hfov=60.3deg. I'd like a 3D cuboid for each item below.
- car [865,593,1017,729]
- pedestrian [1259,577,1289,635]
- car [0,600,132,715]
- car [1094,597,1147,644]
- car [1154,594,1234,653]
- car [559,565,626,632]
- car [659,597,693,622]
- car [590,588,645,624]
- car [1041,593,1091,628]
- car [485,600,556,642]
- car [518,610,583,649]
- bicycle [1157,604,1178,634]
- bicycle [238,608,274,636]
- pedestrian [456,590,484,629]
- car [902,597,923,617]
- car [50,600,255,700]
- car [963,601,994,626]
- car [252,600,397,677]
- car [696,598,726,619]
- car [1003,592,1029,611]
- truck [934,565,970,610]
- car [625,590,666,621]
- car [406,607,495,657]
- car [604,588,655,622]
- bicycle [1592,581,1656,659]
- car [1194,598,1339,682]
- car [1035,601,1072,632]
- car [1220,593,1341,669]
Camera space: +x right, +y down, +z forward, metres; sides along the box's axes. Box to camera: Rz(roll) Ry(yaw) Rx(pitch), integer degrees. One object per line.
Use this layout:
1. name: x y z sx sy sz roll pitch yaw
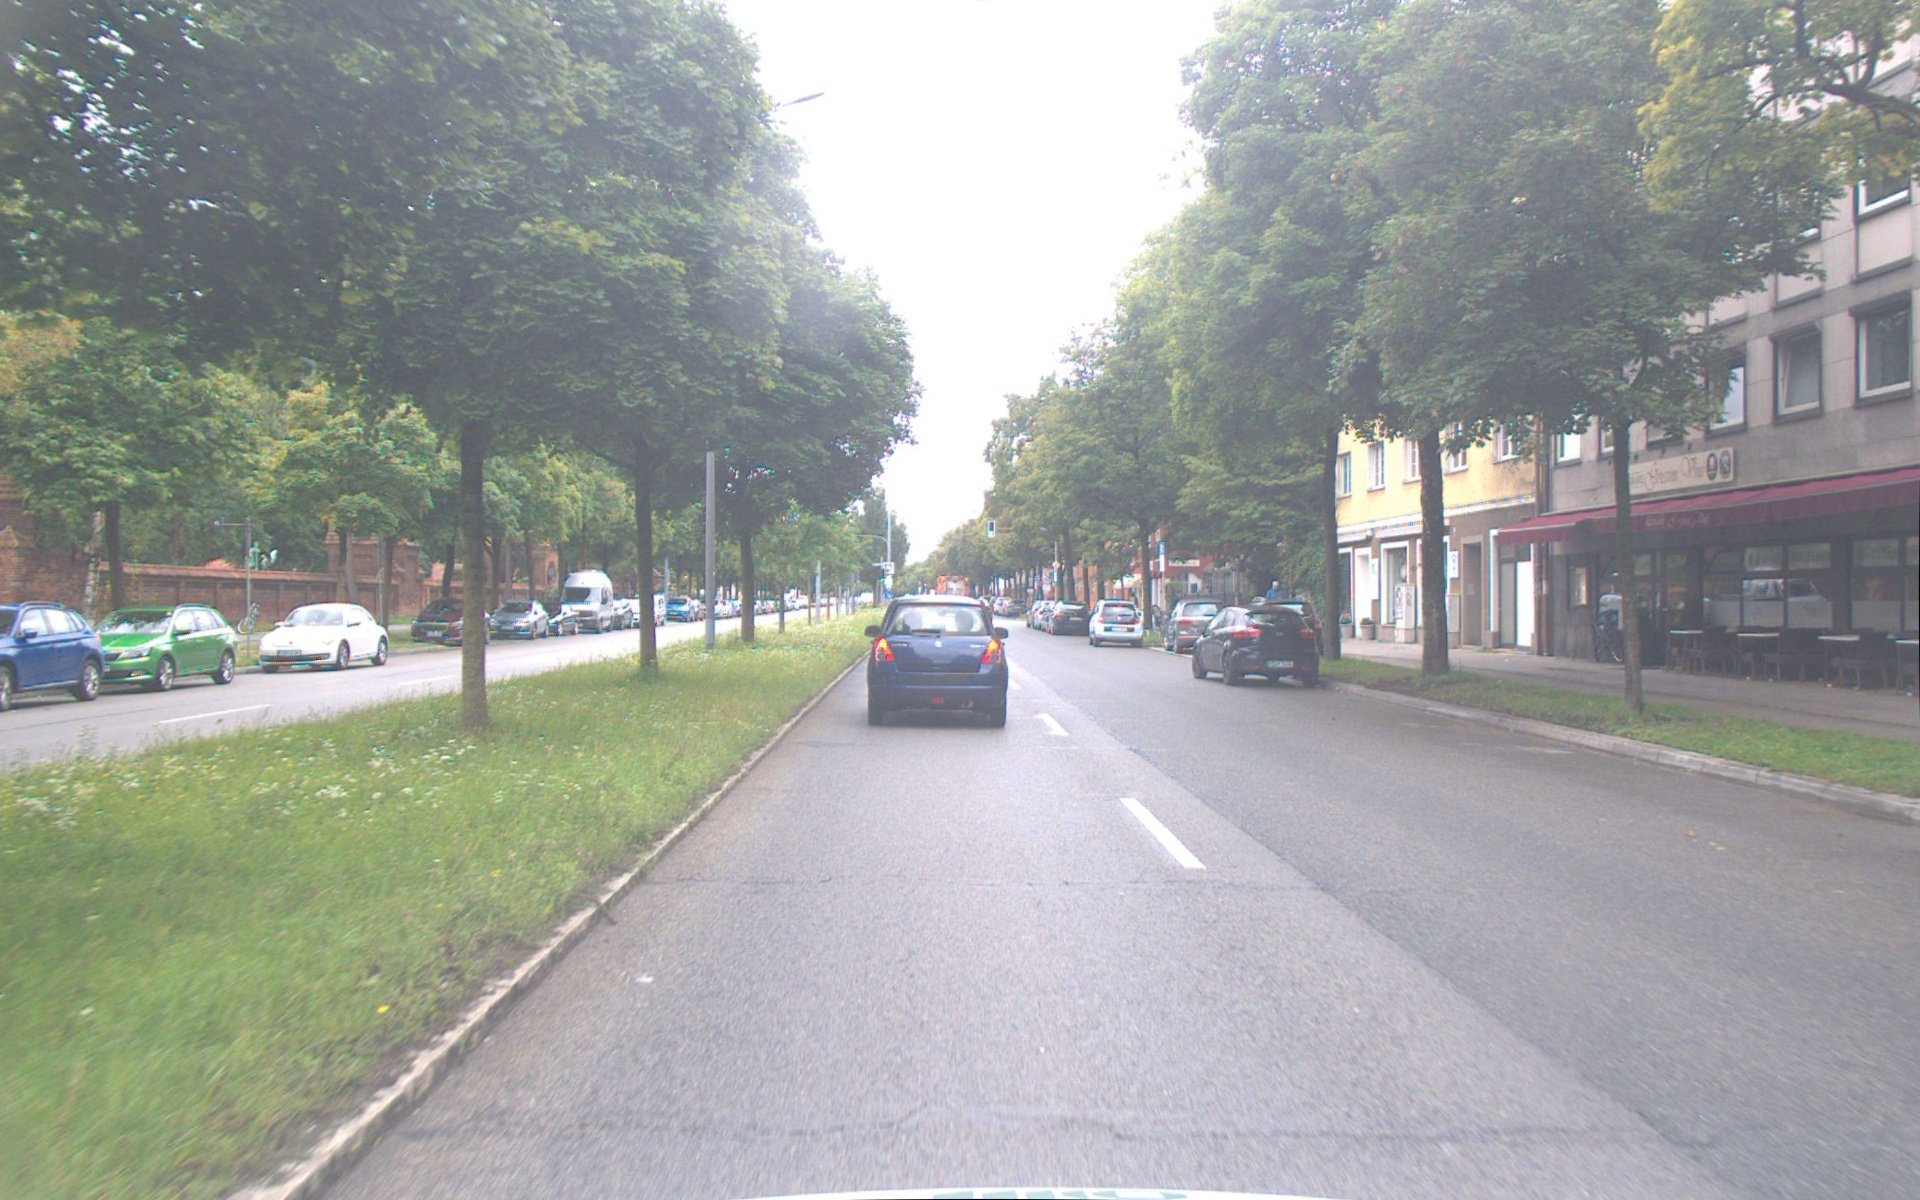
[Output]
1. car: -0.233 0.681 20.694 1.717 1.531 4.000 0 0 -1
2. pedestrian: 10.419 0.184 54.869 0.776 1.888 0.776 -2 0 -4
3. car: -14.300 0.832 24.655 1.849 1.564 4.312 -3 0 -3
4. car: 5.466 0.677 56.079 1.618 1.477 4.003 -1 0 7
5. car: 7.012 0.668 49.949 1.778 1.654 4.307 -1 0 0
6. car: -17.285 -0.072 78.089 2.142 3.005 6.187 1 0 -4
7. car: -18.815 0.609 109.649 1.672 1.561 3.999 0 0 -1
8. car: -17.576 0.282 85.008 2.142 1.766 4.574 1 0 -4
9. car: 4.628 0.427 72.662 1.621 1.477 4.705 -1 0 -4
10. car: -17.322 0.786 65.374 1.777 1.563 4.439 1 0 -2
11. car: -17.545 1.235 71.052 1.777 1.563 4.817 1 0 -2
12. bicycle: 7.091 0.645 56.488 0.439 0.997 1.798 0 0 -2
13. bicycle: -24.266 0.759 57.040 0.642 0.953 1.618 0 0 -4
14. pedestrian: -20.127 0.380 67.931 0.761 1.594 0.792 0 0 35
15. car: -3.829 0.558 133.779 1.684 1.527 4.299 1 0 -2
16. car: -14.408 0.833 29.796 1.605 1.564 4.313 -3 0 -2
17. car: 1.196 0.874 107.657 1.785 1.503 4.689 2 0 -2
18. car: -14.672 0.846 38.444 1.725 1.564 4.313 -3 0 -2
19. car: -18.968 0.640 126.182 1.765 1.561 3.999 0 0 -1
20. car: 4.668 0.144 138.731 1.953 1.557 3.999 0 0 -1
21. truck: -0.715 -1.063 142.714 2.979 3.619 13.672 1 0 -1
22. car: -18.183 0.321 95.773 1.672 1.764 3.999 0 0 -1
23. car: -17.070 1.037 55.617 1.777 1.563 4.296 1 0 -2
24. car: -18.004 0.274 90.320 2.142 1.766 4.574 1 0 -4
25. bicycle: 13.058 0.381 32.564 0.568 1.489 1.688 0 0 -1
26. car: 5.731 0.708 31.359 1.953 1.477 3.999 0 0 -1
27. car: 4.682 0.807 82.989 1.660 1.477 4.123 0 0 0
28. car: 7.488 0.683 39.075 1.953 1.671 4.332 0 0 -1
